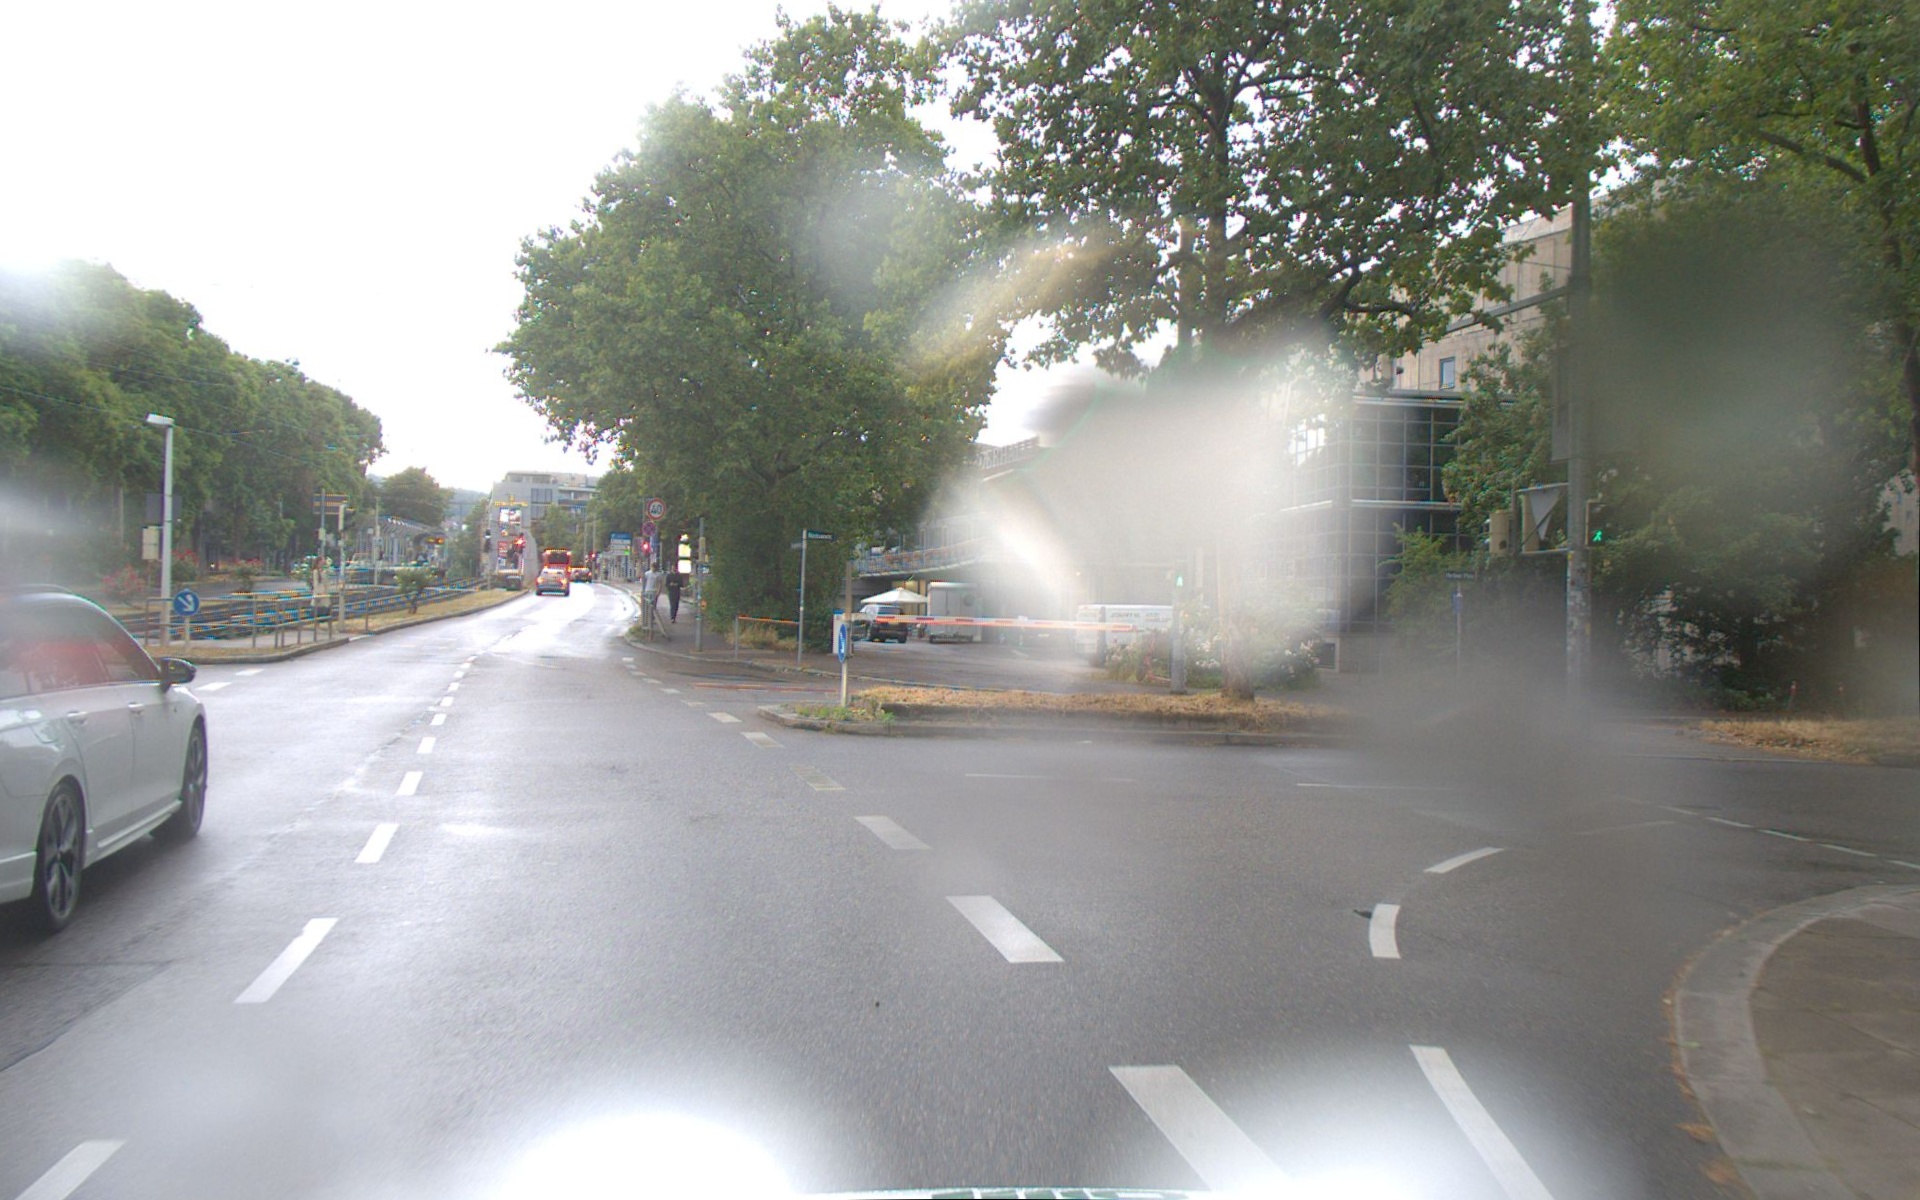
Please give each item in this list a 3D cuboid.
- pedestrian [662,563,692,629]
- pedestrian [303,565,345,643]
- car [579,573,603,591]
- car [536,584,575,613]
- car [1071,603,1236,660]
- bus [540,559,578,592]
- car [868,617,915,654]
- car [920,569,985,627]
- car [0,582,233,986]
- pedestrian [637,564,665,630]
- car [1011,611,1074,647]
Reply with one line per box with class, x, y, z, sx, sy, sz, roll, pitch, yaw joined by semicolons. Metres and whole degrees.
pedestrian;-8.895;-0.135;52.089;0.858;2.049;1.075;-1;0;-8
pedestrian;-15.133;0.087;39.359;0.856;1.834;0.863;1;0;-19
car;-38.436;-1.853;172.090;2.323;1.848;5.165;-1;1;-13
car;-22.704;-0.100;92.946;1.958;1.545;4.338;-1;1;-12
car;6.311;1.027;53.730;5.135;1.761;1.859;1;1;-26
bus;-40.471;-2.449;167.071;3.529;3.226;10.384;-1;1;-13
car;-3.248;1.683;79.292;1.978;1.578;4.351;1;1;1
car;-0.432;-0.152;82.830;2.678;2.742;6.915;1;1;-5
car;-4.875;0.704;7.929;1.765;1.468;4.459;-1;0;-14
pedestrian;-9.682;-0.099;51.857;0.799;2.049;1.075;-1;0;-8
car;3.989;1.408;80.710;1.985;1.578;4.336;1;1;-13
